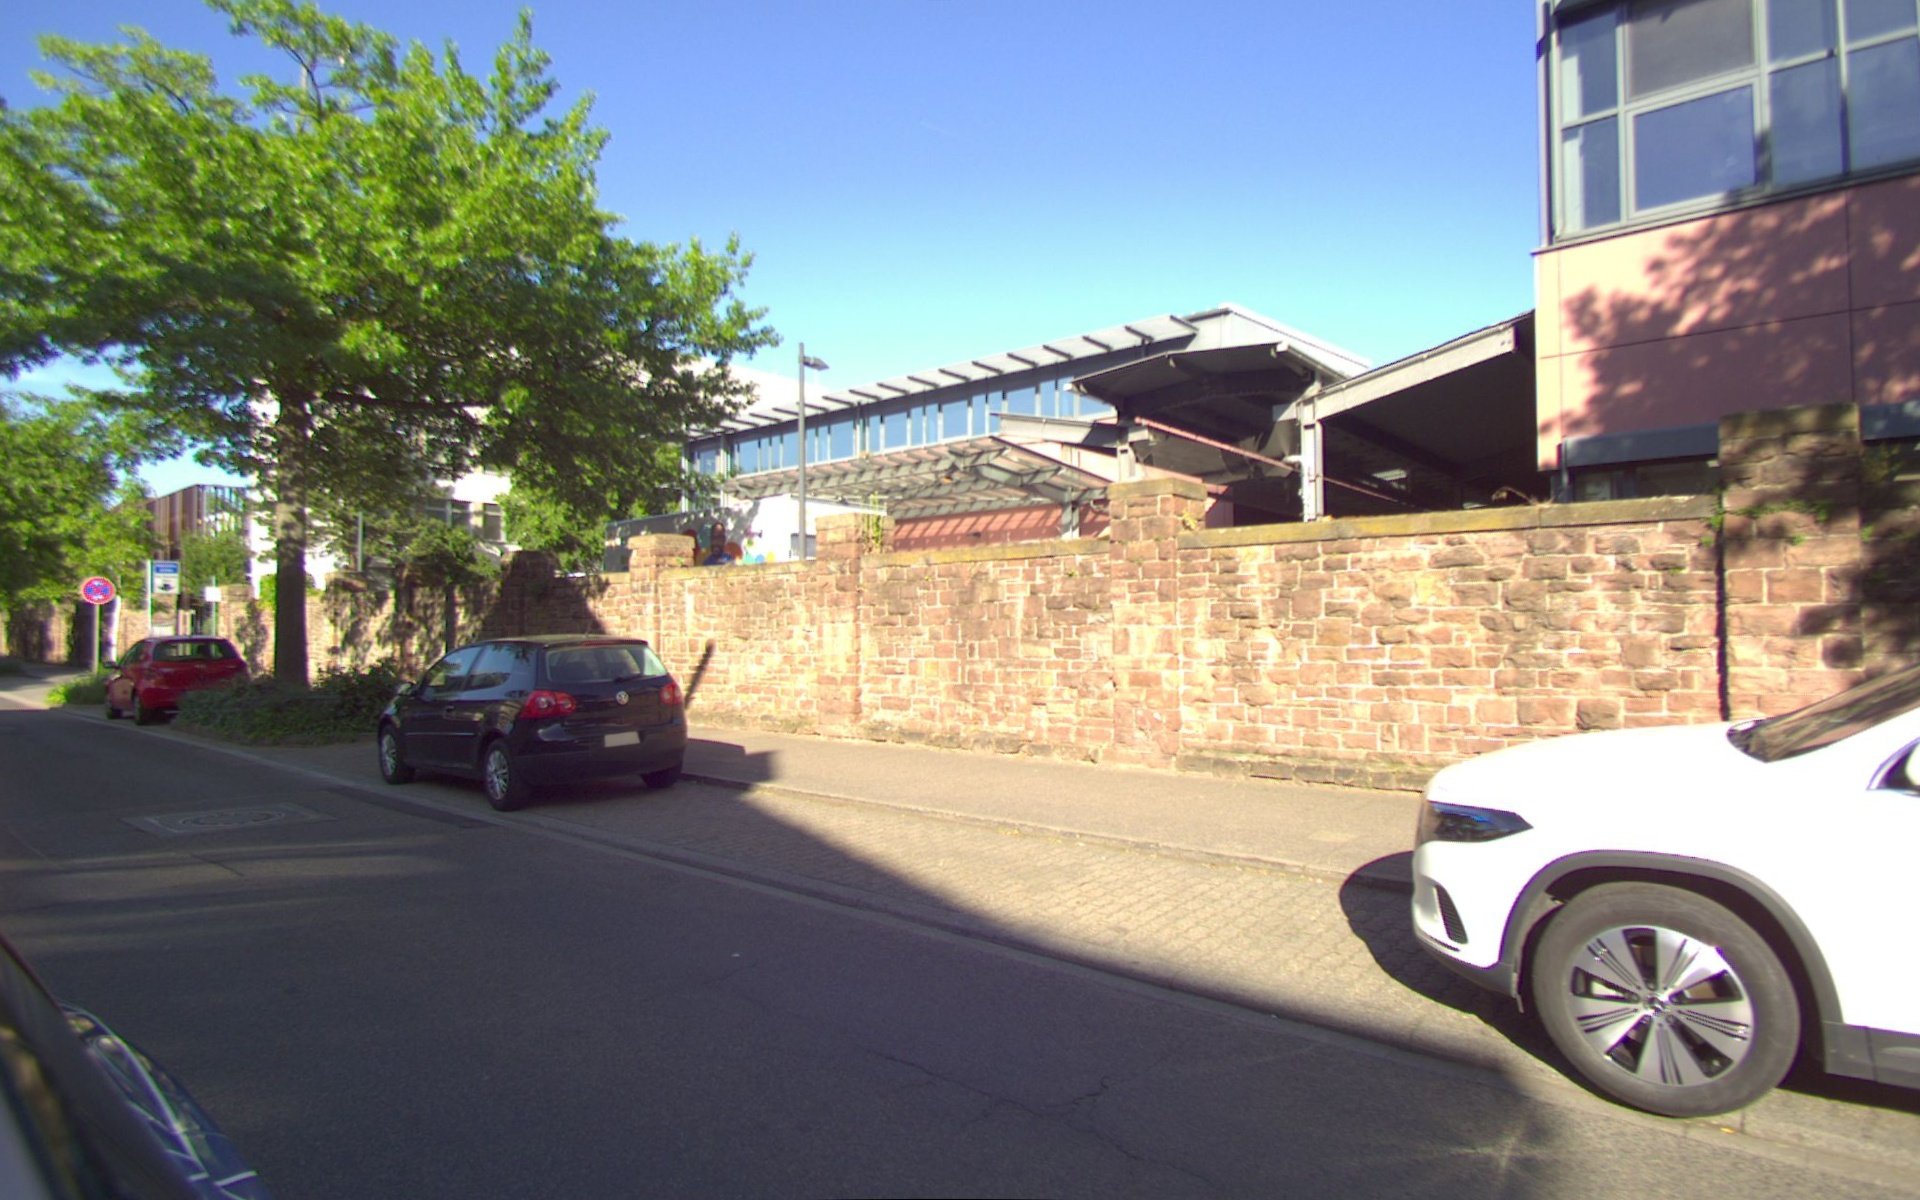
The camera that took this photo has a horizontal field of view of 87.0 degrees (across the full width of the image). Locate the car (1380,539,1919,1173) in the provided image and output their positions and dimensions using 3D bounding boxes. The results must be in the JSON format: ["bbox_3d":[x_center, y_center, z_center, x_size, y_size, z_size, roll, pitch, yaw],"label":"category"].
[{"bbox_3d":[3.722,0.674,2.888,4.346,1.696,1.703,-2,-3,39],"label":"car"}]

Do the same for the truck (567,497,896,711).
[{"bbox_3d":[-4.990,0.166,21.123,7.422,3.739,2.705,-2,-1,40],"label":"truck"}]

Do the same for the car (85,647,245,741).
[{"bbox_3d":[-14.556,1.635,18.470,3.706,1.470,1.592,-2,-1,41],"label":"car"}]

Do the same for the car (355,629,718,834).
[{"bbox_3d":[-4.321,1.120,10.010,4.105,1.604,1.719,-3,-2,42],"label":"car"}]
